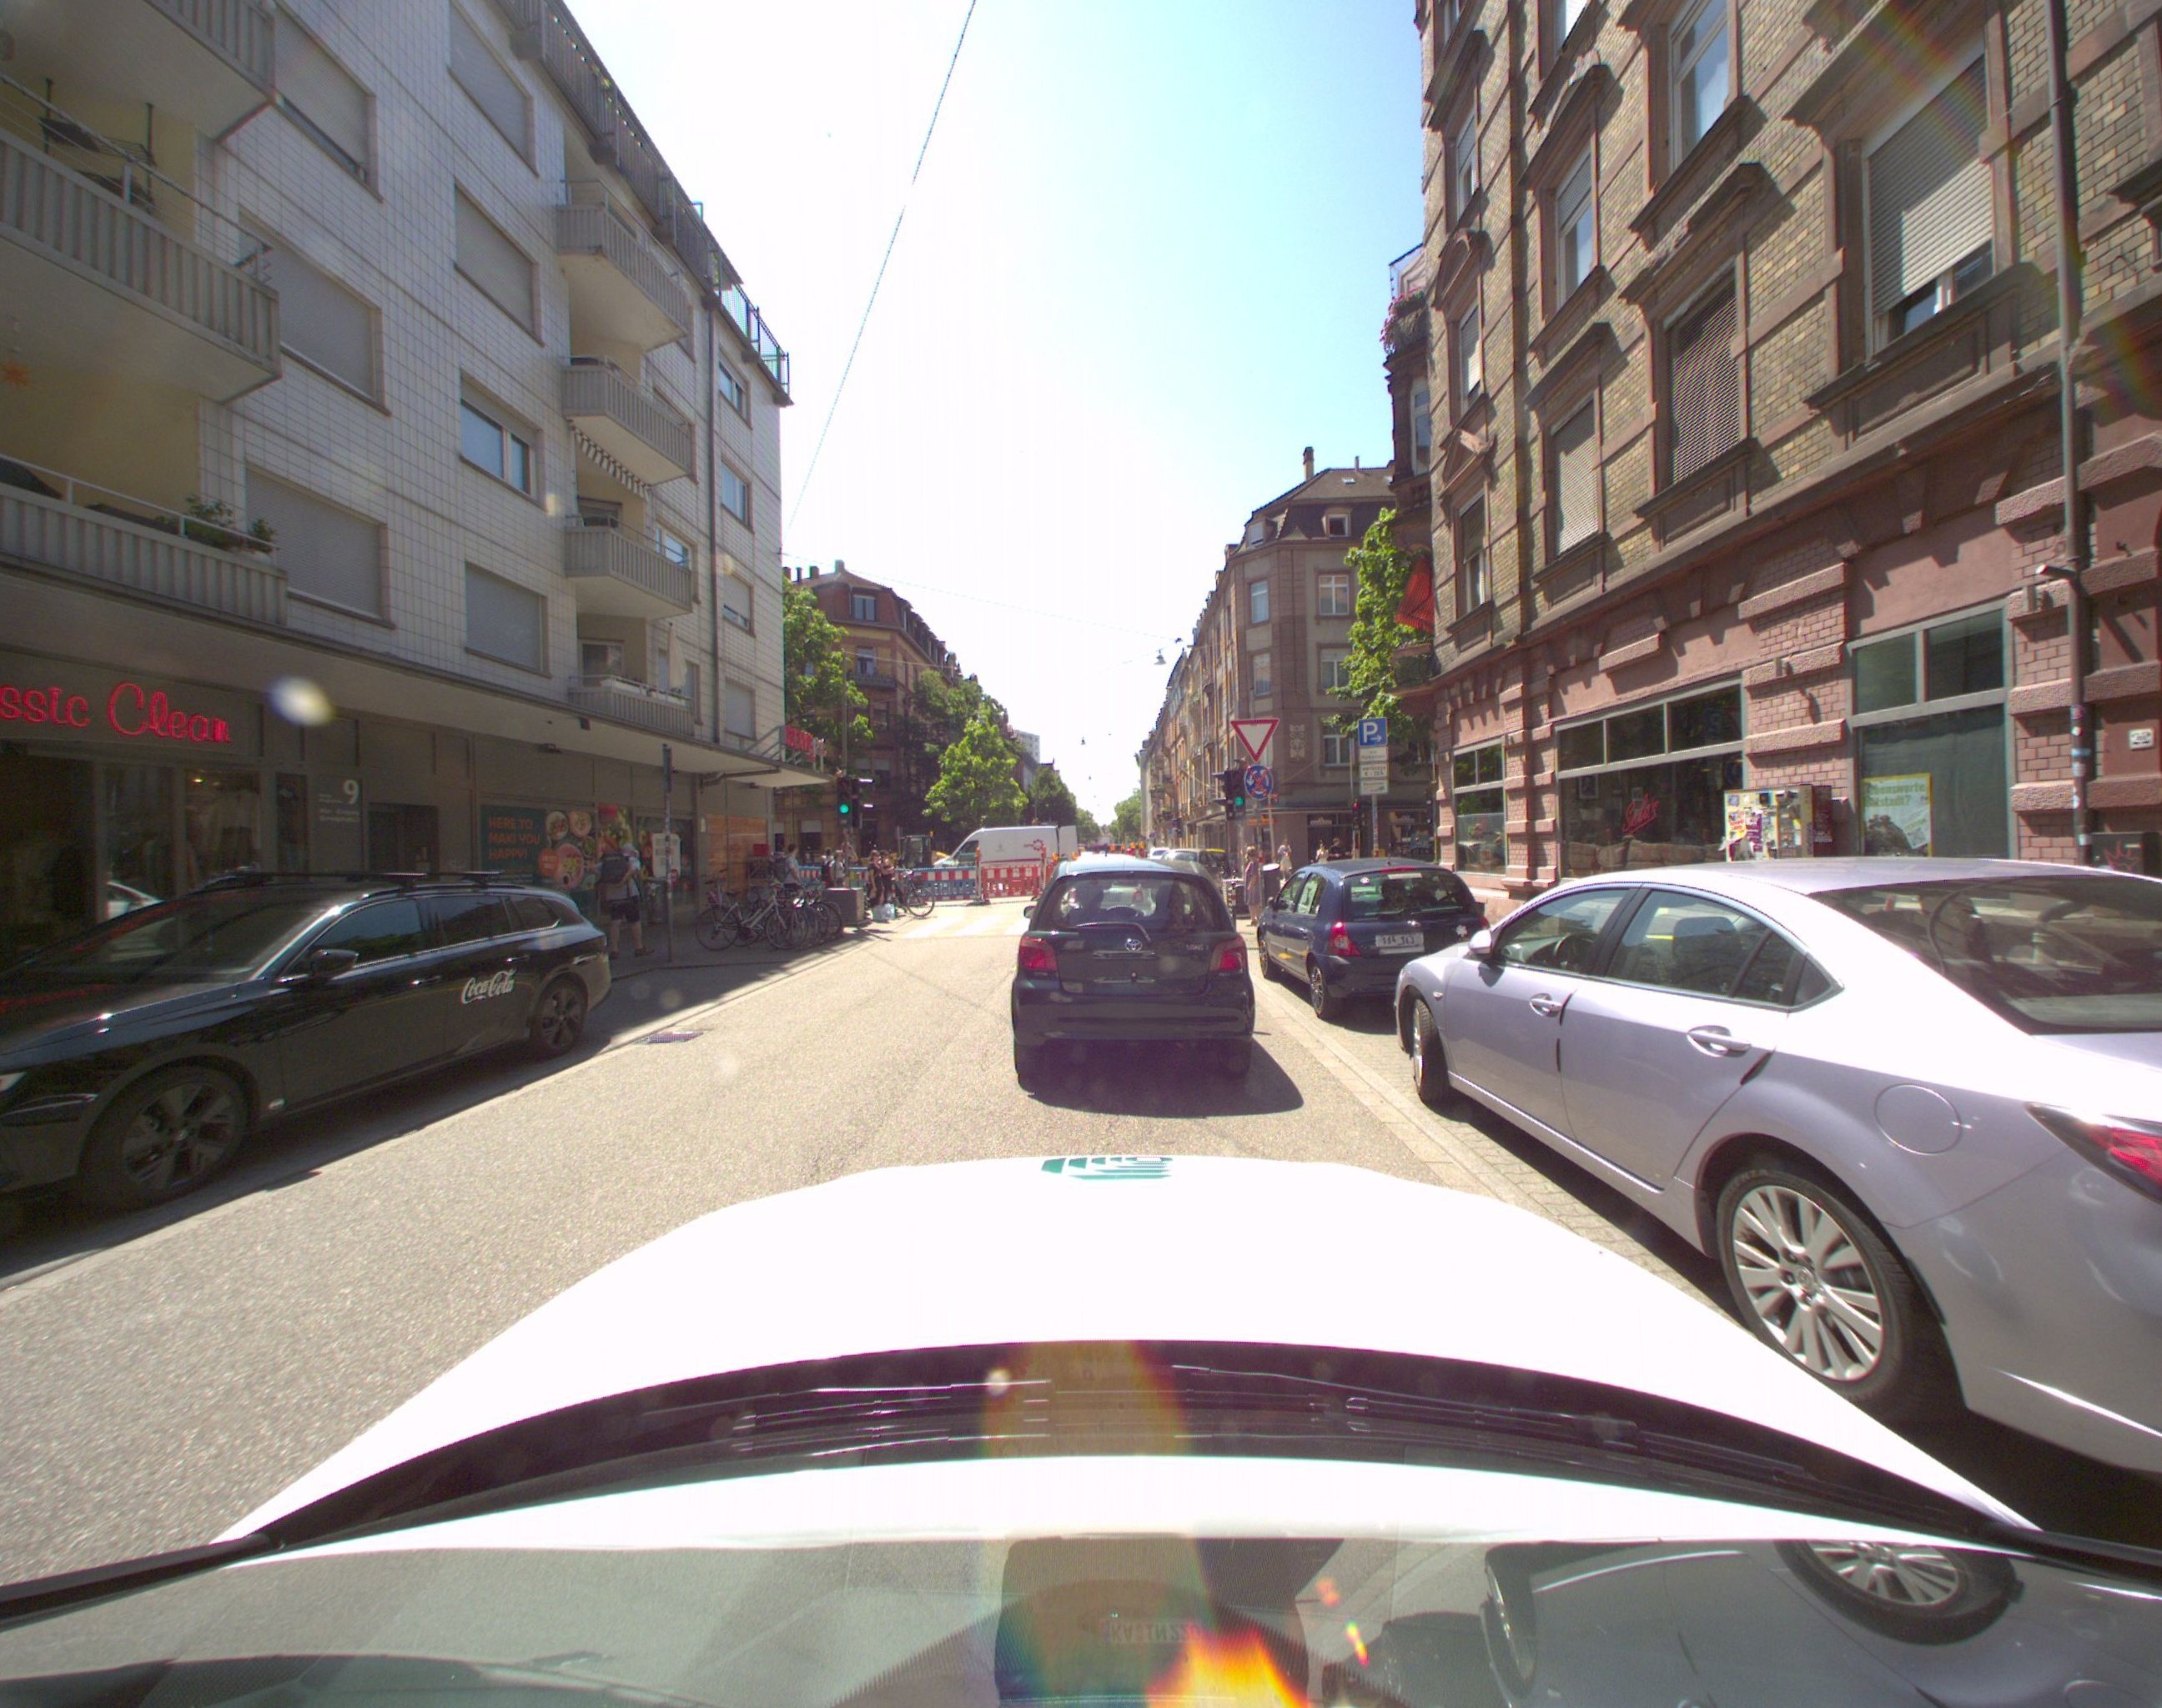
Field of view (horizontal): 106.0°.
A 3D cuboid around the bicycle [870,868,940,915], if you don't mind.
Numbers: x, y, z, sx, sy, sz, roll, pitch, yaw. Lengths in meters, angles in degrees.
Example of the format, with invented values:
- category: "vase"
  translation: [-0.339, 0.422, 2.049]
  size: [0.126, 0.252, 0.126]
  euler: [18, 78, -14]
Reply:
- category: "bicycle"
  translation: [-4.503, 0.947, 20.811]
  size: [1.789, 1.119, 0.470]
  euler: [0, 0, 23]

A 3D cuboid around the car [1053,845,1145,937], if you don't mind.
- category: "car"
  translation: [0.346, 0.613, 15.439]
  size: [1.517, 1.521, 3.265]
  euler: [-1, 0, 1]

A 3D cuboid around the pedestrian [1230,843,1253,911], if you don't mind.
- category: "pedestrian"
  translation: [3.751, 0.519, 19.014]
  size: [0.457, 1.560, 0.480]
  euler: [-1, 0, 8]

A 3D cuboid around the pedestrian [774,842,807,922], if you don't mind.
- category: "pedestrian"
  translation: [-6.576, 0.625, 18.466]
  size: [0.507, 1.770, 0.599]
  euler: [-1, 0, -1]

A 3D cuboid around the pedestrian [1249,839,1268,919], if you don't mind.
- category: "pedestrian"
  translation: [3.751, 0.517, 17.192]
  size: [0.330, 1.675, 0.402]
  euler: [-1, 0, 8]

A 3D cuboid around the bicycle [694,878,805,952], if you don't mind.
- category: "bicycle"
  translation: [-5.409, 0.993, 13.340]
  size: [1.580, 1.139, 0.526]
  euler: [1, 0, -3]

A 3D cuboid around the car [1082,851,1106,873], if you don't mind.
- category: "car"
  translation: [1.124, 0.625, 66.712]
  size: [1.748, 1.645, 4.380]
  euler: [-4, 0, 2]

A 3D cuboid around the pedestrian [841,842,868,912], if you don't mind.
- category: "pedestrian"
  translation: [-5.976, 0.595, 21.502]
  size: [0.507, 1.820, 0.599]
  euler: [-1, 0, -1]

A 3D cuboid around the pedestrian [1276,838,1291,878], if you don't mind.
- category: "pedestrian"
  translation: [8.814, 0.186, 35.456]
  size: [0.473, 1.733, 0.876]
  euler: [-1, -1, 21]

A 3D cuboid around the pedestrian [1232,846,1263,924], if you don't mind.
- category: "pedestrian"
  translation: [3.377, 0.618, 16.537]
  size: [0.490, 1.543, 0.437]
  euler: [-3, 0, 7]

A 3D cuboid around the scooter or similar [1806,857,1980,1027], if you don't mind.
- category: "scooter or similar"
  translation: [6.257, 0.617, 6.347]
  size: [0.290, 1.177, 1.276]
  euler: [-1, 0, 11]

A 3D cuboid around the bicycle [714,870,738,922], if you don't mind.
- category: "bicycle"
  translation: [-8.084, 0.944, 18.564]
  size: [0.321, 1.086, 1.424]
  euler: [-1, 1, -17]

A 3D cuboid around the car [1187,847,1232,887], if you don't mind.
- category: "car"
  translation: [5.122, 0.474, 32.616]
  size: [1.618, 1.432, 3.669]
  euler: [-2, 0, 8]

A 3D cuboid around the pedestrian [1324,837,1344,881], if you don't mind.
- category: "pedestrian"
  translation: [10.455, 0.192, 33.671]
  size: [0.574, 1.768, 0.470]
  euler: [-4, 3, -7]

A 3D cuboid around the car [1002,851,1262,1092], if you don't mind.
- category: "car"
  translation: [0.438, 0.729, 6.692]
  size: [1.606, 1.485, 3.245]
  euler: [0, 0, 4]

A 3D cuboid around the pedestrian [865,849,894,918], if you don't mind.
- category: "pedestrian"
  translation: [-4.824, 0.698, 19.524]
  size: [0.539, 1.633, 0.511]
  euler: [-1, 0, -1]

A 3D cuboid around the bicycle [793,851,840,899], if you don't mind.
- category: "bicycle"
  translation: [-7.269, 0.559, 22.454]
  size: [0.533, 1.247, 2.013]
  euler: [-2, 0, 2]

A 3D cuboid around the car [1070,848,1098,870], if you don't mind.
- category: "car"
  translation: [0.234, 0.346, 56.970]
  size: [1.748, 1.444, 4.002]
  euler: [-2, 0, 2]

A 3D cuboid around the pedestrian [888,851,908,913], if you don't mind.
- category: "pedestrian"
  translation: [-4.899, 0.738, 21.793]
  size: [0.388, 1.618, 0.475]
  euler: [-1, 0, -1]

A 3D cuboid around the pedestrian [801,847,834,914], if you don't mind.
- category: "pedestrian"
  translation: [-7.242, 0.710, 22.419]
  size: [0.528, 1.797, 0.938]
  euler: [-2, 0, 2]

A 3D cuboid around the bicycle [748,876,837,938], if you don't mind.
- category: "bicycle"
  translation: [-5.413, 0.998, 15.288]
  size: [1.515, 1.117, 0.335]
  euler: [1, 0, -3]

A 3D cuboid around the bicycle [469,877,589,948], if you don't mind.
- category: "bicycle"
  translation: [-9.016, 0.946, 13.336]
  size: [1.572, 1.072, 0.341]
  euler: [-1, 0, -16]

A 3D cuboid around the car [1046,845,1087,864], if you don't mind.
- category: "car"
  translation: [-1.757, 0.085, 98.812]
  size: [4.581, 2.187, 1.983]
  euler: [-1, 0, -26]

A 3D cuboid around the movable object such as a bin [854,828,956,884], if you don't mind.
- category: "movable object such as a bin"
  translation: [-8.567, 0.100, 39.906]
  size: [4.525, 2.659, 1.956]
  euler: [0, 0, 2]

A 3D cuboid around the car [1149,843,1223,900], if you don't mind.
- category: "car"
  translation: [3.236, 0.479, 24.589]
  size: [1.510, 1.592, 3.280]
  euler: [-1, 0, 20]

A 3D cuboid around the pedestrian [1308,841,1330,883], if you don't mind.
- category: "pedestrian"
  translation: [9.790, 0.321, 33.478]
  size: [0.701, 1.645, 0.422]
  euler: [-4, 3, -7]

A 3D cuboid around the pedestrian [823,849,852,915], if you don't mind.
- category: "pedestrian"
  translation: [-6.110, 0.691, 20.422]
  size: [0.507, 1.633, 0.599]
  euler: [-1, 0, -1]

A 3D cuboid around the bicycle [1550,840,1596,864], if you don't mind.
- category: "bicycle"
  translation: [21.606, -0.082, 35.770]
  size: [1.719, 0.996, 0.504]
  euler: [-1, 2, -3]

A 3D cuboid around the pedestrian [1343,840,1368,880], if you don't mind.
- category: "pedestrian"
  translation: [11.519, 0.252, 34.230]
  size: [0.799, 1.623, 0.643]
  euler: [-1, 0, 0]

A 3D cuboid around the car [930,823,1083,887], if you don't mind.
- category: "car"
  translation: [-3.300, 0.040, 37.044]
  size: [6.594, 2.751, 2.381]
  euler: [0, 0, 2]

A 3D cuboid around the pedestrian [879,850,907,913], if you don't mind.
- category: "pedestrian"
  translation: [-4.765, 0.680, 20.649]
  size: [0.491, 1.565, 0.462]
  euler: [1, 1, 28]

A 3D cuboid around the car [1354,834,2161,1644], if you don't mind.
- category: "car"
  translation: [2.800, 0.683, 3.503]
  size: [1.720, 1.432, 4.485]
  euler: [-2, 0, 0]

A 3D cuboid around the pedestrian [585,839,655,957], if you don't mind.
- category: "pedestrian"
  translation: [-6.924, 0.643, 12.255]
  size: [0.628, 1.726, 0.658]
  euler: [-1, 0, 2]

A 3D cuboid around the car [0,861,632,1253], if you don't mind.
- category: "car"
  translation: [-5.112, 0.838, 5.379]
  size: [1.663, 1.525, 4.466]
  euler: [0, 0, 2]

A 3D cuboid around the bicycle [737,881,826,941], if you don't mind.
- category: "bicycle"
  translation: [-5.394, 1.028, 14.709]
  size: [1.444, 1.036, 0.335]
  euler: [1, 0, -3]

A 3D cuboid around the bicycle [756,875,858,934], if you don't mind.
- category: "bicycle"
  translation: [-5.364, 0.983, 16.008]
  size: [1.794, 1.123, 0.577]
  euler: [1, 0, -5]

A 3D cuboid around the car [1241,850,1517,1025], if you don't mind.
- category: "car"
  translation: [2.920, 0.718, 8.824]
  size: [1.622, 1.432, 3.660]
  euler: [-2, 0, 0]

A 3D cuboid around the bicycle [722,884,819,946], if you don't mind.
- category: "bicycle"
  translation: [-5.350, 1.045, 14.079]
  size: [1.490, 1.030, 0.397]
  euler: [1, 0, -3]
